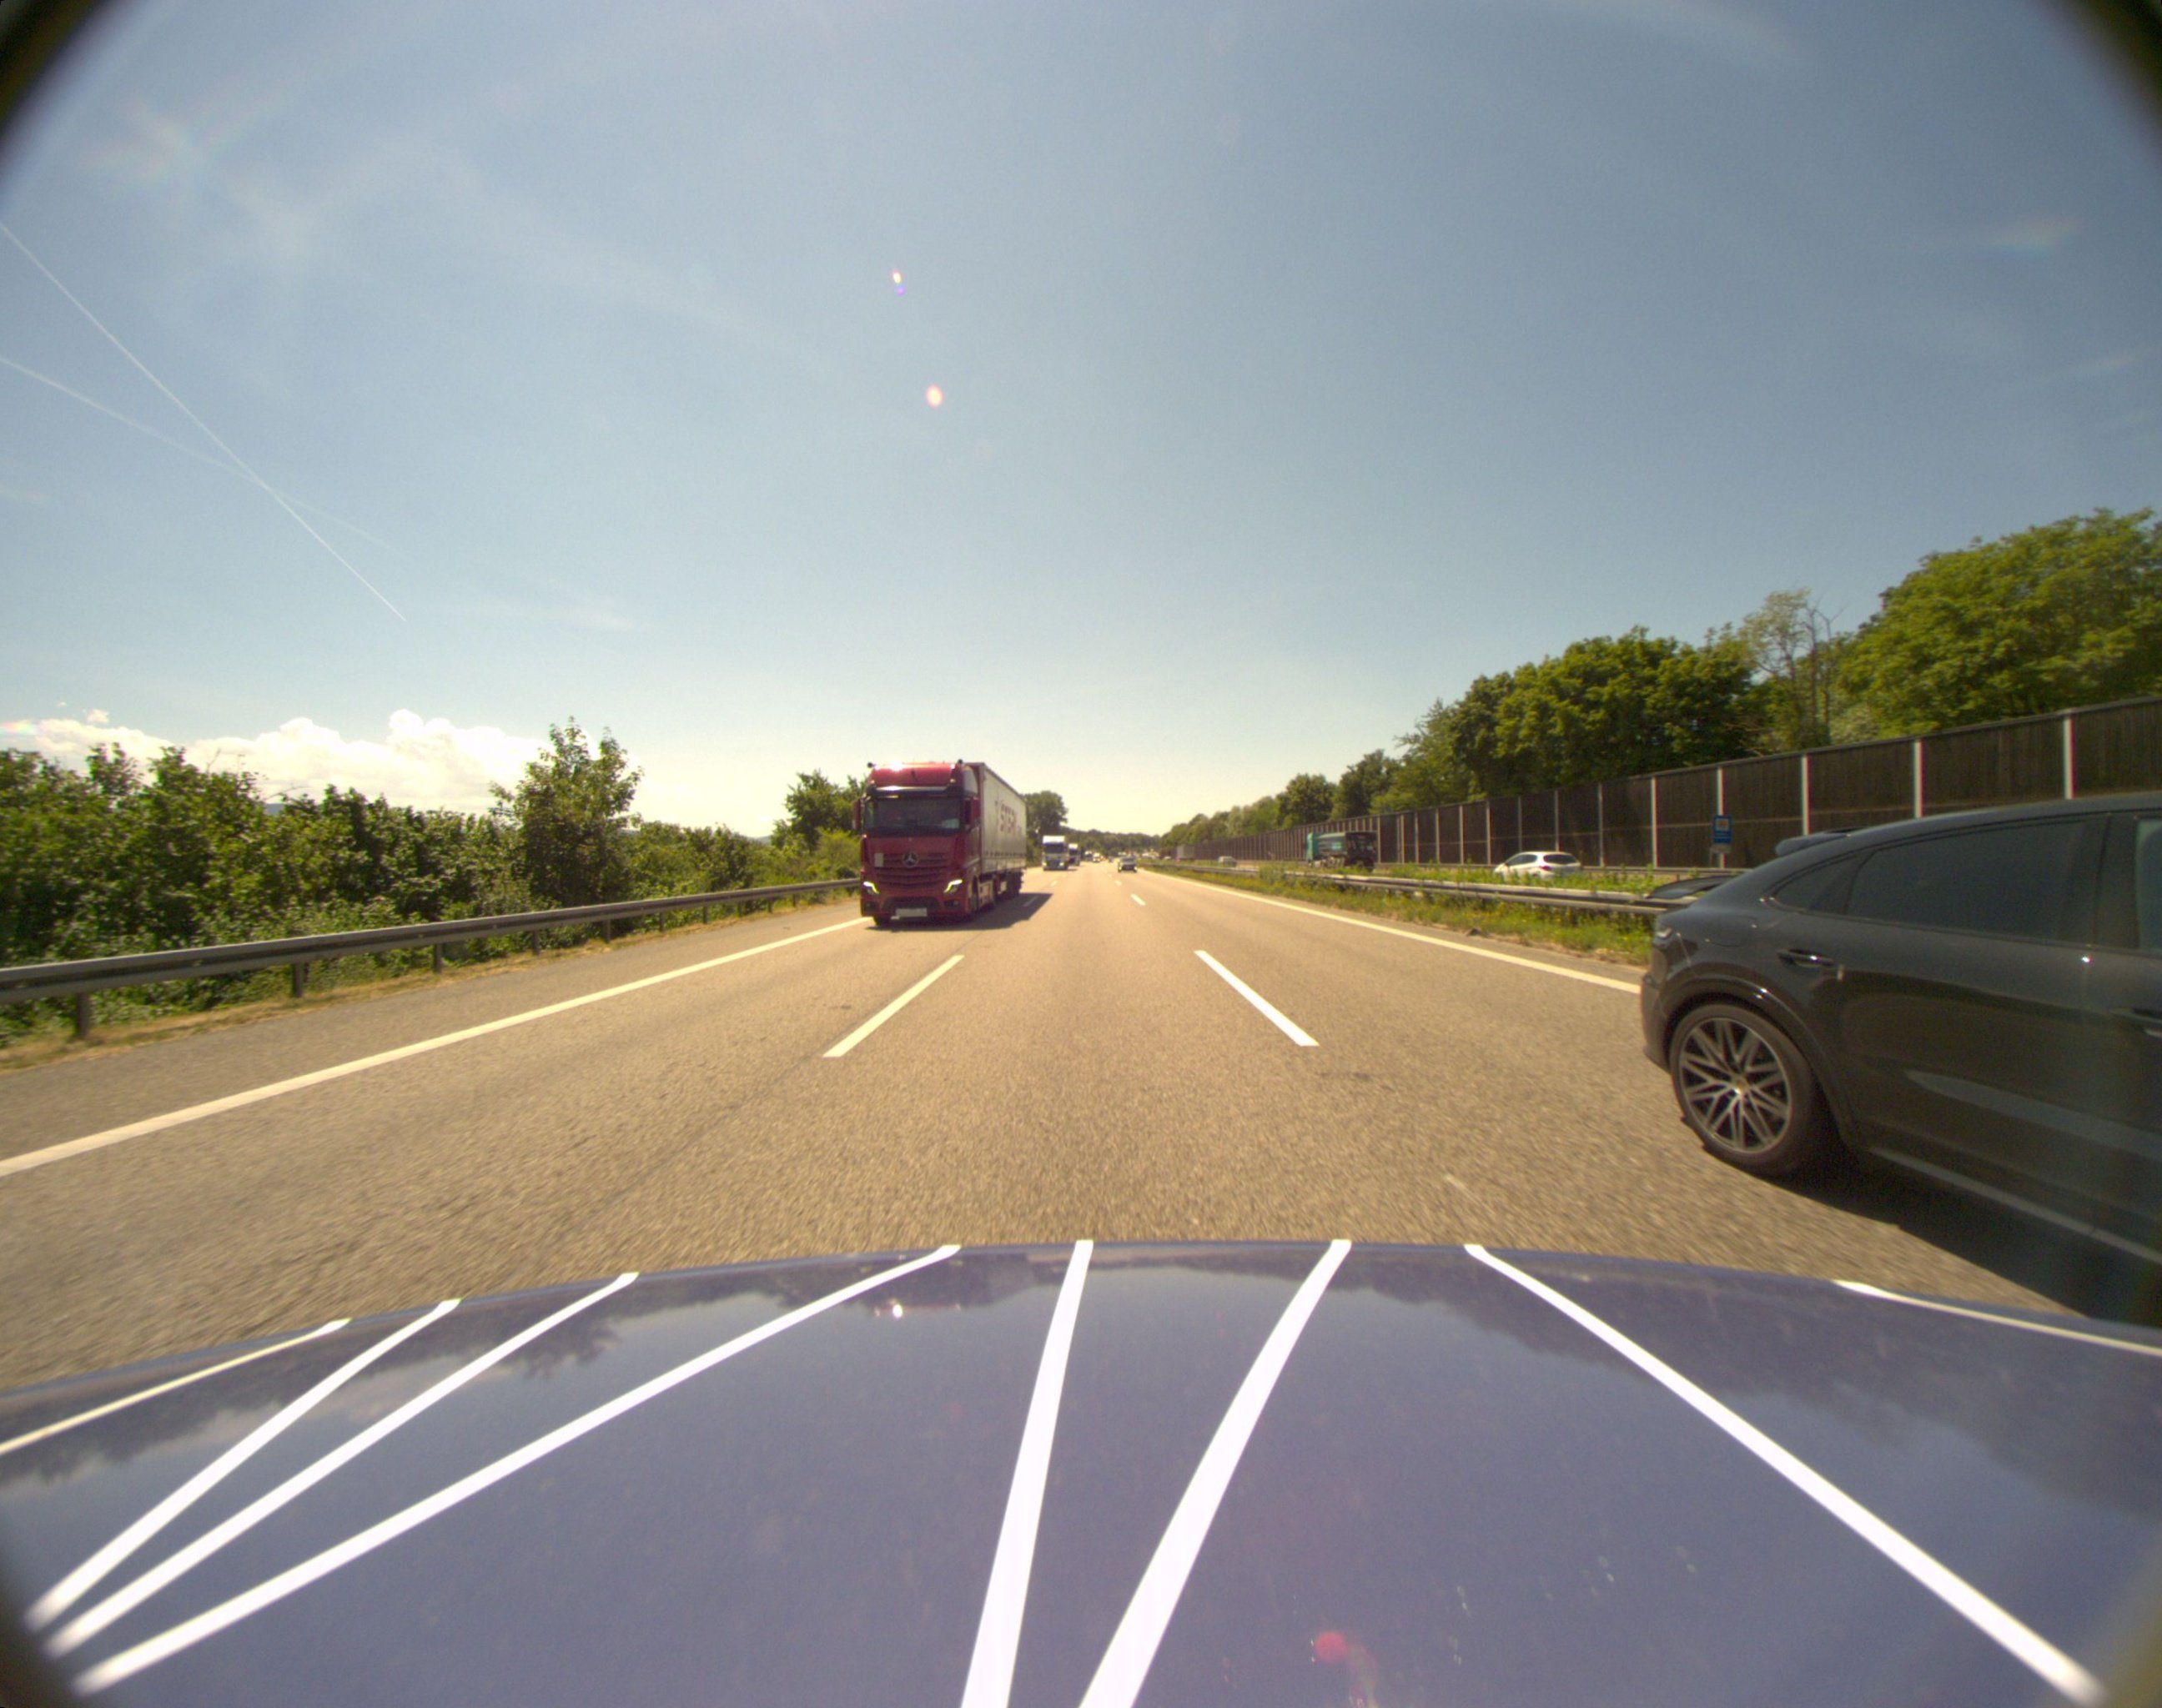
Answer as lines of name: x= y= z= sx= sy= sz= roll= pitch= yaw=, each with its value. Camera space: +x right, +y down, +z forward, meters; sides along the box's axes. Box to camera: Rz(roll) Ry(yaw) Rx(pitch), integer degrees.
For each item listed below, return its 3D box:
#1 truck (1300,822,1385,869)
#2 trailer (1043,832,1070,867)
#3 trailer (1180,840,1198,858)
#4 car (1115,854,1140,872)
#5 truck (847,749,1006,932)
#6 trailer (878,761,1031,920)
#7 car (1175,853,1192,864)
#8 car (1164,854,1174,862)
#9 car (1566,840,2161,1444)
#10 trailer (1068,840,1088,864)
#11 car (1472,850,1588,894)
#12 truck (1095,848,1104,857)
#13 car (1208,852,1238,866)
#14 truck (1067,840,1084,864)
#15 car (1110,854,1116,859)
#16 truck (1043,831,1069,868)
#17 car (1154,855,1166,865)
truck: x=22.262 y=-0.705 z=65.741 sx=3.098 sy=3.654 sz=12.367 roll=-1 pitch=0 yaw=0
trailer: x=-3.038 y=-0.520 z=93.699 sx=2.967 sy=4.082 sz=12.529 roll=-1 pitch=0 yaw=-2
trailer: x=24.882 y=-1.172 z=175.632 sx=2.502 sy=4.063 sz=14.272 roll=0 pitch=0 yaw=2
car: x=4.580 y=0.899 z=75.434 sx=1.910 sy=1.717 sz=4.373 roll=-1 pitch=0 yaw=-5
truck: x=-3.829 y=-0.309 z=20.615 sx=2.714 sy=4.064 sz=6.964 roll=-1 pitch=0 yaw=1
trailer: x=-3.725 y=-0.355 z=26.684 sx=2.714 sy=4.064 sz=14.151 roll=-1 pitch=0 yaw=1
car: x=14.963 y=0.630 z=111.413 sx=1.962 sy=1.438 sz=4.458 roll=-1 pitch=0 yaw=1
car: x=20.630 y=0.907 z=177.949 sx=1.998 sy=1.710 sz=4.532 roll=-1 pitch=0 yaw=1
car: x=3.927 y=0.766 z=1.701 sx=2.049 sy=1.615 sz=5.772 roll=-1 pitch=0 yaw=1
trailer: x=-0.442 y=-0.372 z=147.220 sx=2.541 sy=4.445 sz=14.165 roll=-1 pitch=0 yaw=5
car: x=17.590 y=0.650 z=30.056 sx=1.998 sy=1.581 sz=4.492 roll=-1 pitch=0 yaw=1
truck: x=5.757 y=-0.436 z=239.549 sx=2.715 sy=2.712 sz=12.369 roll=-1 pitch=0 yaw=2
car: x=16.023 y=0.550 z=85.888 sx=1.870 sy=1.433 sz=5.082 roll=-1 pitch=0 yaw=-7
truck: x=-1.010 y=-0.350 z=140.297 sx=2.541 sy=4.446 sz=5.574 roll=-1 pitch=0 yaw=5
car: x=10.831 y=0.928 z=258.585 sx=1.909 sy=1.717 sz=4.376 roll=-1 pitch=0 yaw=3
truck: x=-2.918 y=-0.524 z=88.915 sx=2.967 sy=4.082 sz=6.205 roll=-1 pitch=0 yaw=-2
car: x=16.596 y=1.305 z=159.106 sx=1.998 sy=1.936 sz=4.000 roll=-4 pitch=0 yaw=1
